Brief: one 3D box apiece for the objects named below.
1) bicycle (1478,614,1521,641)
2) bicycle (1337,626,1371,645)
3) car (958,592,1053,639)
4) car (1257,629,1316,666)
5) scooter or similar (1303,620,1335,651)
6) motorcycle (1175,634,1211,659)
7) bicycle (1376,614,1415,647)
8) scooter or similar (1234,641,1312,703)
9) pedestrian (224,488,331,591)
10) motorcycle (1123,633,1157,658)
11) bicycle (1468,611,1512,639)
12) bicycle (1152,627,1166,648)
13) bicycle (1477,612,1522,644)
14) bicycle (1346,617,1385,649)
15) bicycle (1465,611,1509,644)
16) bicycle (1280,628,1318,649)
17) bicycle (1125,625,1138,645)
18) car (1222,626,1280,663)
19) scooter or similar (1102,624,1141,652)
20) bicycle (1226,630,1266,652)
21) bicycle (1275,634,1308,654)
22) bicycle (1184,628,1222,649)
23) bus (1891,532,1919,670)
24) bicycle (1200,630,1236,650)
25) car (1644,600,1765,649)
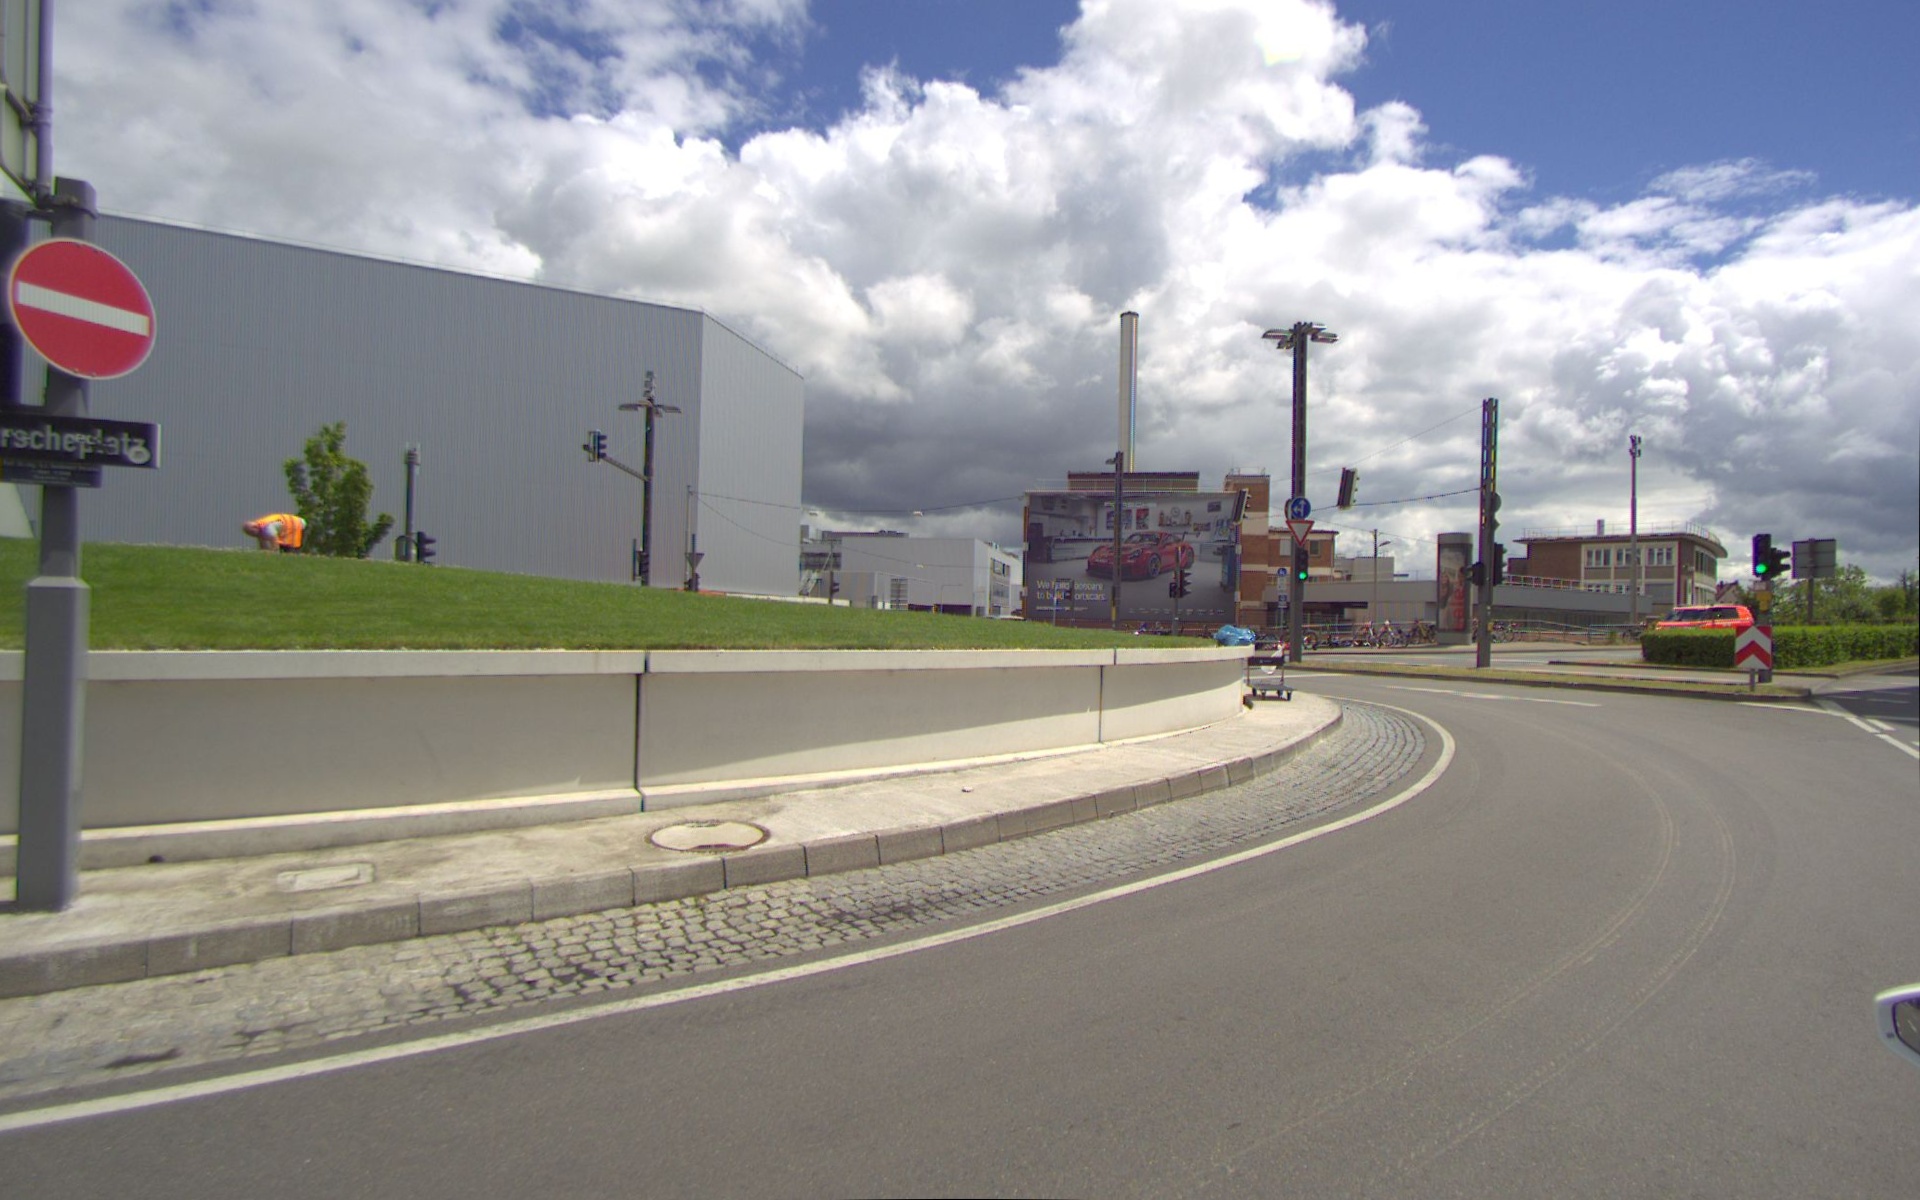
[{"bbox_3d":[25.705,1.297,47.881,0.661,1.198,1.730,1,1,-28],"label":"bicycle"},{"bbox_3d":[19.078,1.726,48.636,1.585,0.878,0.491,3,-1,-17],"label":"bicycle"},{"bbox_3d":[1.679,0.562,38.512,1.973,1.598,3.975,3,0,-24],"label":"car"},{"bbox_3d":[18.493,2.681,57.074,1.674,1.828,3.476,3,0,-11],"label":"car"},{"bbox_3d":[15.344,1.513,42.922,1.373,1.248,0.491,-1,2,-29],"label":"scooter or similar"},{"bbox_3d":[12.894,2.543,55.641,0.903,1.211,2.908,3,0,-9],"label":"motorcycle"},{"bbox_3d":[19.270,1.344,44.461,0.486,1.401,1.599,2,0,-28],"label":"bicycle"},{"bbox_3d":[4.798,1.087,15.483,0.890,0.859,1.262,1,0,4],"label":"scooter or similar"},{"bbox_3d":[-10.599,-0.919,15.638,0.947,1.424,0.856,3,-7,-5],"label":"pedestrian"},{"bbox_3d":[9.919,2.510,55.381,0.903,1.211,2.908,3,0,-9],"label":"motorcycle"},{"bbox_3d":[25.024,1.172,47.458,0.662,1.198,1.729,-4,3,-30],"label":"bicycle"},{"bbox_3d":[9.220,1.731,46.645,0.483,0.878,1.612,3,0,7],"label":"bicycle"},{"bbox_3d":[25.318,1.297,47.176,0.661,1.399,1.730,3,0,-28],"label":"bicycle"},{"bbox_3d":[17.829,1.450,44.174,0.486,1.334,1.599,2,0,-28],"label":"bicycle"},{"bbox_3d":[24.488,1.266,46.706,0.661,1.399,1.730,3,0,-28],"label":"bicycle"},{"bbox_3d":[14.724,1.673,43.632,1.585,0.878,0.491,-1,0,-17],"label":"bicycle"},{"bbox_3d":[7.986,1.632,46.806,0.483,0.878,1.612,3,0,7],"label":"bicycle"},{"bbox_3d":[16.241,2.461,56.246,1.601,1.809,3.475,3,0,-11],"label":"car"},{"bbox_3d":[7.145,1.688,44.450,1.600,1.197,0.502,-3,-1,18],"label":"scooter or similar"},{"bbox_3d":[12.300,1.747,43.199,1.579,0.878,0.493,-2,0,0],"label":"bicycle"},{"bbox_3d":[15.875,2.112,48.101,1.589,0.878,0.489,3,0,-26],"label":"bicycle"},{"bbox_3d":[10.491,1.656,43.377,1.578,0.878,0.493,0,-1,13],"label":"bicycle"},{"bbox_3d":[29.280,-0.005,27.259,12.092,3.407,3.053,-1,2,-33],"label":"bus"},{"bbox_3d":[11.940,1.838,46.464,1.578,0.878,0.493,0,-1,15],"label":"bicycle"},{"bbox_3d":[32.015,1.048,43.195,4.765,2.010,1.990,0,-1,-21],"label":"car"}]
